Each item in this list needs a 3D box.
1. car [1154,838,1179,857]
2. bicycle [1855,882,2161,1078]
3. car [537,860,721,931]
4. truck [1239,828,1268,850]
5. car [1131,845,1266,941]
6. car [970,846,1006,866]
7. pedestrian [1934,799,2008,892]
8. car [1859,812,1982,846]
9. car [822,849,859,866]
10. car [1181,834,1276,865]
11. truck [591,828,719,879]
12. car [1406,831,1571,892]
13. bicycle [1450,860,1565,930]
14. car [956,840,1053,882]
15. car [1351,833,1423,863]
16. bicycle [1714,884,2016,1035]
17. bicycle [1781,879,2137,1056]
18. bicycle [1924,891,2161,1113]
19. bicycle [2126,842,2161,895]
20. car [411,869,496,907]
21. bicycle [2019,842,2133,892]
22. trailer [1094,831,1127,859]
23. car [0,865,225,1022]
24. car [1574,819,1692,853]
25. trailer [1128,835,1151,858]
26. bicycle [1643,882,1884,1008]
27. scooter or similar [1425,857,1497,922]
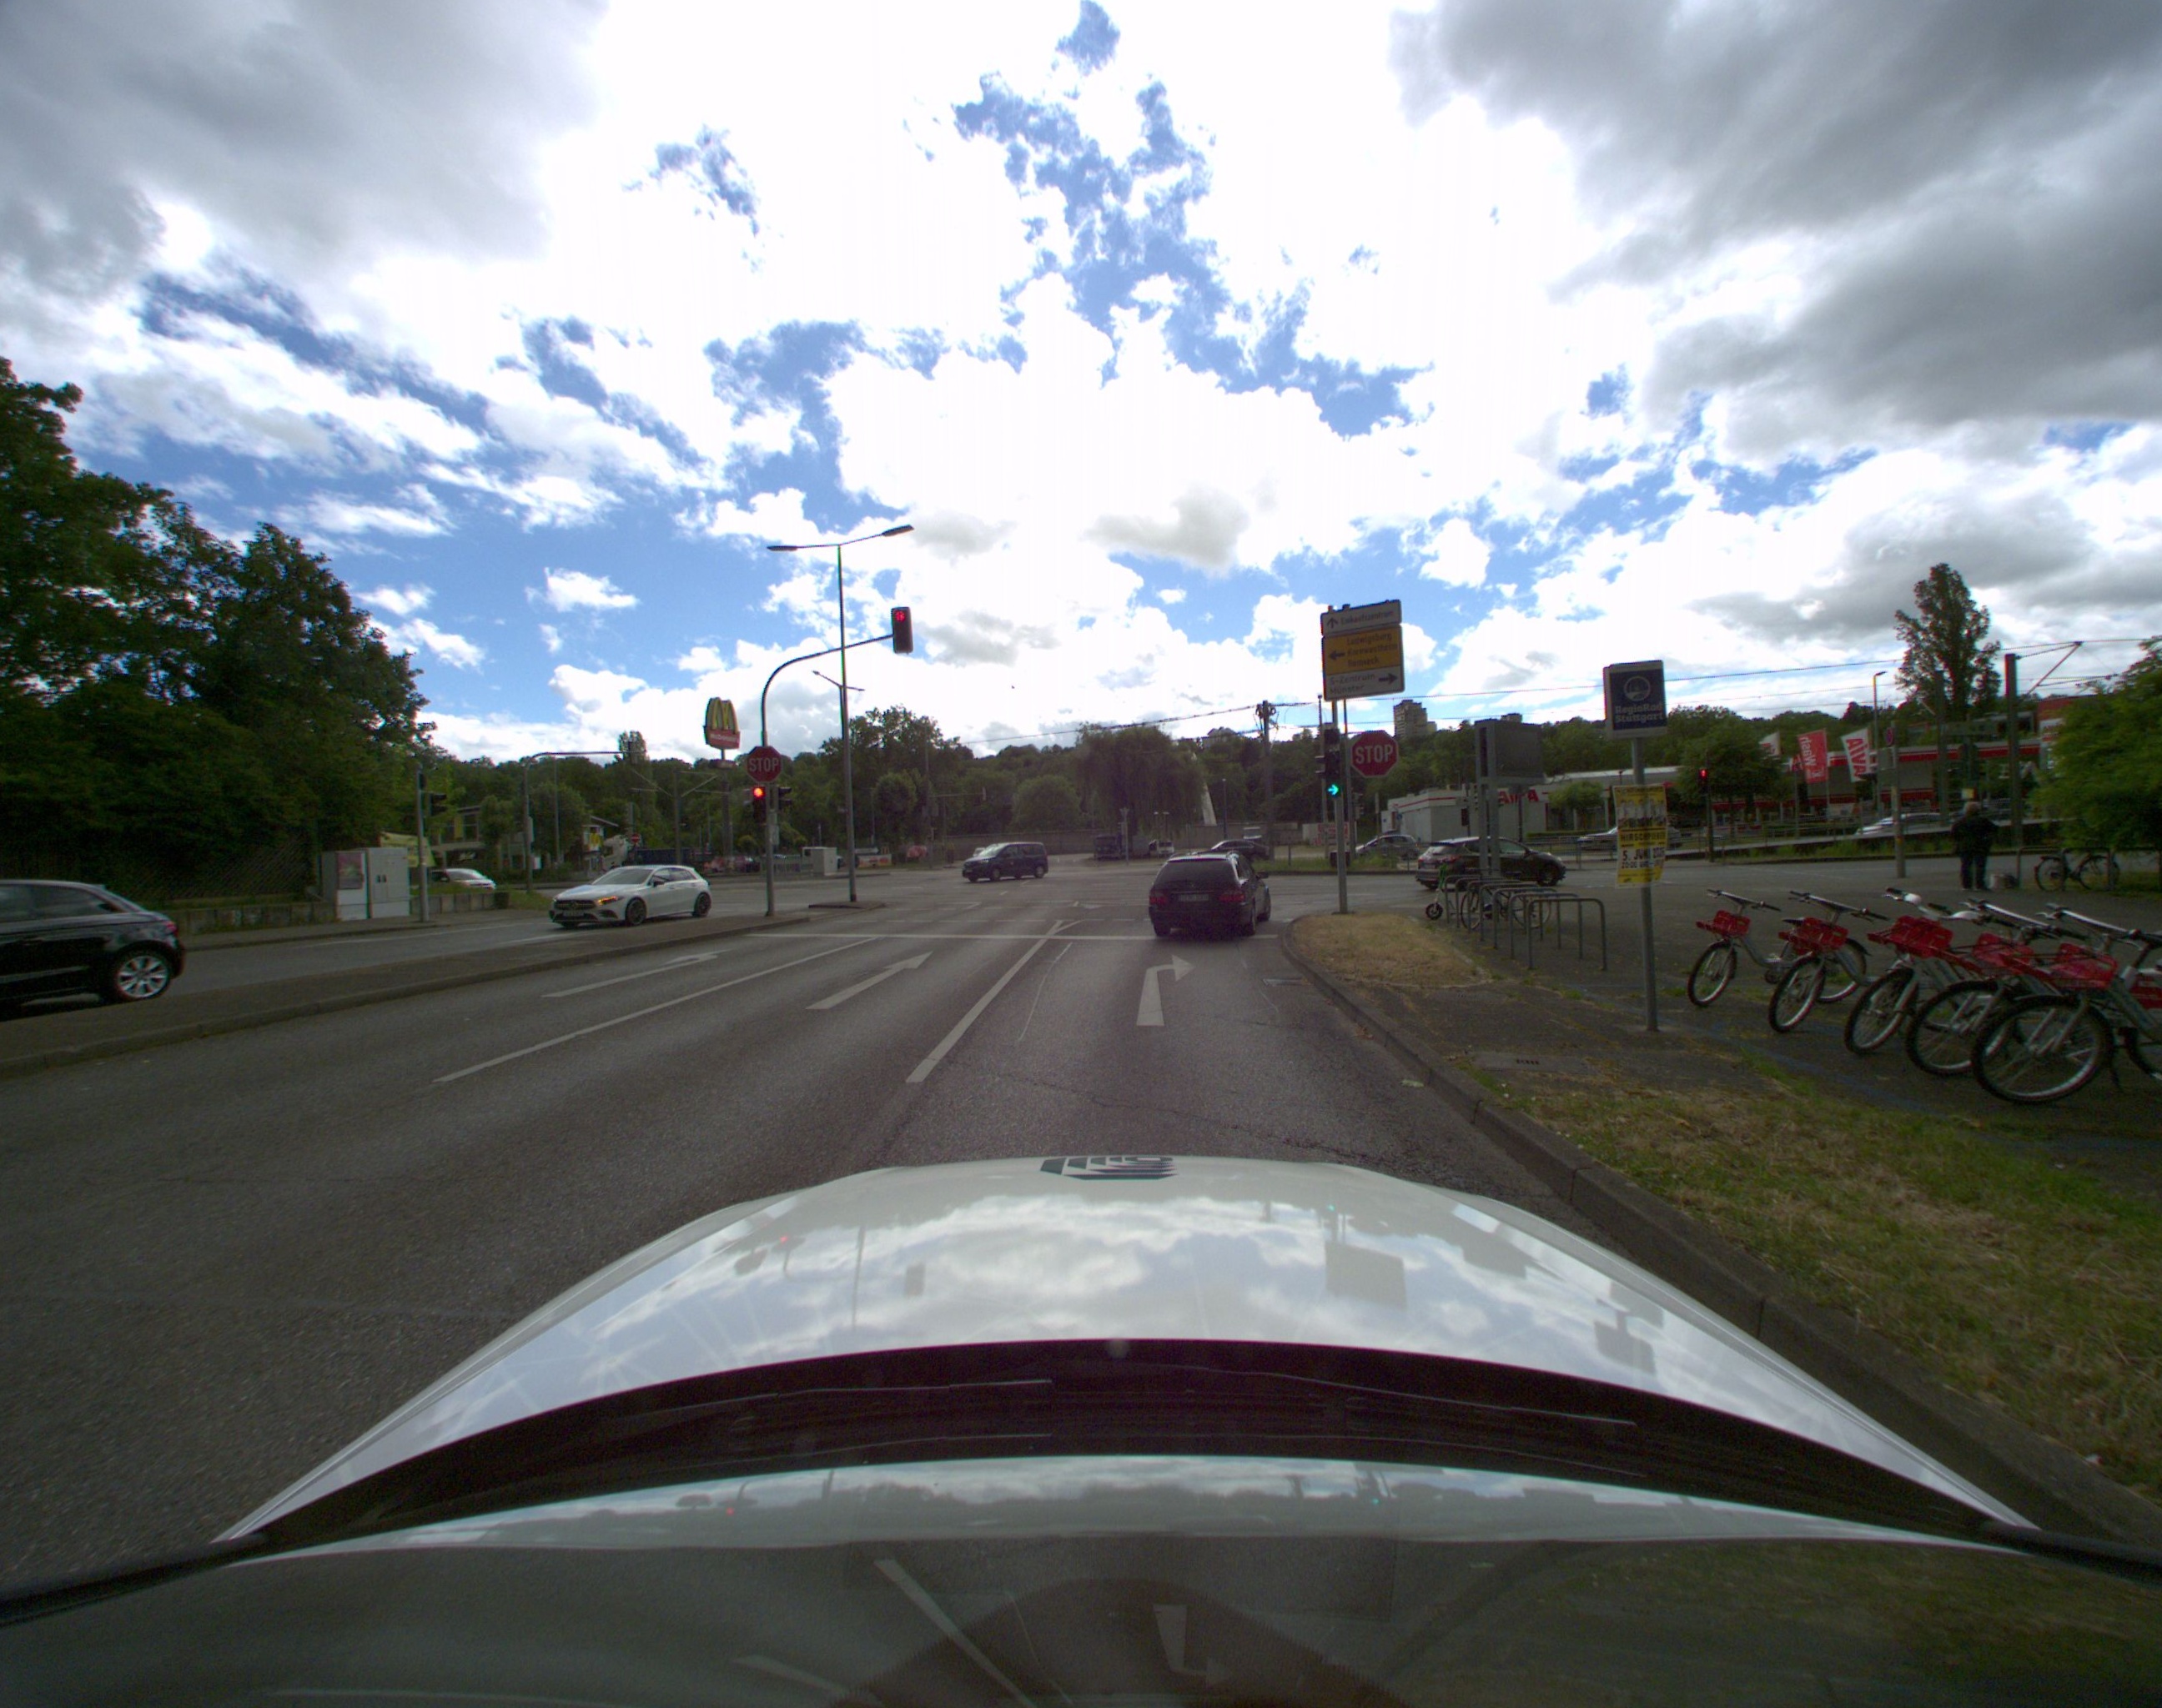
[{"bbox_3d":[8.536,-0.696,81.126,1.980,1.749,4.013,-2,1,11],"label":"car"},{"bbox_3d":[5.961,0.761,5.015,1.768,1.111,0.456,-2,0,8],"label":"bicycle"},{"bbox_3d":[-10.923,0.937,20.073,1.591,1.405,4.303,-2,1,9],"label":"car"},{"bbox_3d":[17.765,-1.533,84.075,2.224,2.013,5.247,-3,0,5],"label":"truck"},{"bbox_3d":[2.433,0.621,15.759,1.808,1.509,4.596,-1,1,18],"label":"car"},{"bbox_3d":[-8.165,0.158,72.035,1.980,1.640,4.013,-2,1,11],"label":"car"},{"bbox_3d":[17.928,-0.174,16.412,0.689,1.819,0.772,-2,0,-19],"label":"pedestrian"},{"bbox_3d":[42.529,-1.258,41.369,3.997,1.530,1.727,-2,0,16],"label":"car"},{"bbox_3d":[-30.590,0.426,103.530,3.968,2.013,2.003,-3,0,5],"label":"car"},{"bbox_3d":[8.412,-0.253,46.564,5.043,1.523,1.740,-2,1,-6],"label":"car"},{"bbox_3d":[-34.487,-0.049,66.026,9.036,3.587,3.231,-3,0,13],"label":"truck"},{"bbox_3d":[11.793,0.176,23.641,4.140,1.530,1.725,-2,1,-14],"label":"car"},{"bbox_3d":[7.258,0.692,13.889,1.682,1.110,0.480,-2,2,3],"label":"bicycle"},{"bbox_3d":[-3.572,0.285,38.605,1.587,1.774,4.586,-2,1,45],"label":"car"},{"bbox_3d":[17.335,-0.342,46.332,3.740,1.508,1.712,-2,0,17],"label":"car"},{"bbox_3d":[6.197,0.820,6.501,1.771,1.111,0.541,-2,-2,3],"label":"bicycle"},{"bbox_3d":[6.088,0.770,5.717,1.771,1.111,0.580,-2,0,3],"label":"bicycle"},{"bbox_3d":[5.779,0.766,4.317,1.763,1.111,0.428,-3,-1,22],"label":"bicycle"},{"bbox_3d":[19.606,0.212,14.372,1.708,0.898,0.376,-4,0,3],"label":"bicycle"},{"bbox_3d":[-28.792,1.547,37.373,2.991,1.574,1.675,-2,1,19],"label":"car"},{"bbox_3d":[19.579,0.252,16.038,1.708,0.898,0.360,-2,0,3],"label":"bicycle"},{"bbox_3d":[2.961,-0.890,80.707,2.337,2.582,4.935,-3,0,11],"label":"trailer"},{"bbox_3d":[-10.957,0.894,7.622,1.610,1.416,3.897,-2,1,2],"label":"car"},{"bbox_3d":[29.763,-0.971,44.094,4.887,1.600,2.023,-2,0,14],"label":"car"},{"bbox_3d":[5.922,-0.771,82.579,1.983,2.184,4.008,-3,0,7],"label":"trailer"},{"bbox_3d":[6.475,0.848,7.781,1.771,1.111,0.554,-1,0,3],"label":"bicycle"},{"bbox_3d":[7.199,0.673,15.464,1.174,1.169,0.295,-2,0,11],"label":"scooter or similar"}]
